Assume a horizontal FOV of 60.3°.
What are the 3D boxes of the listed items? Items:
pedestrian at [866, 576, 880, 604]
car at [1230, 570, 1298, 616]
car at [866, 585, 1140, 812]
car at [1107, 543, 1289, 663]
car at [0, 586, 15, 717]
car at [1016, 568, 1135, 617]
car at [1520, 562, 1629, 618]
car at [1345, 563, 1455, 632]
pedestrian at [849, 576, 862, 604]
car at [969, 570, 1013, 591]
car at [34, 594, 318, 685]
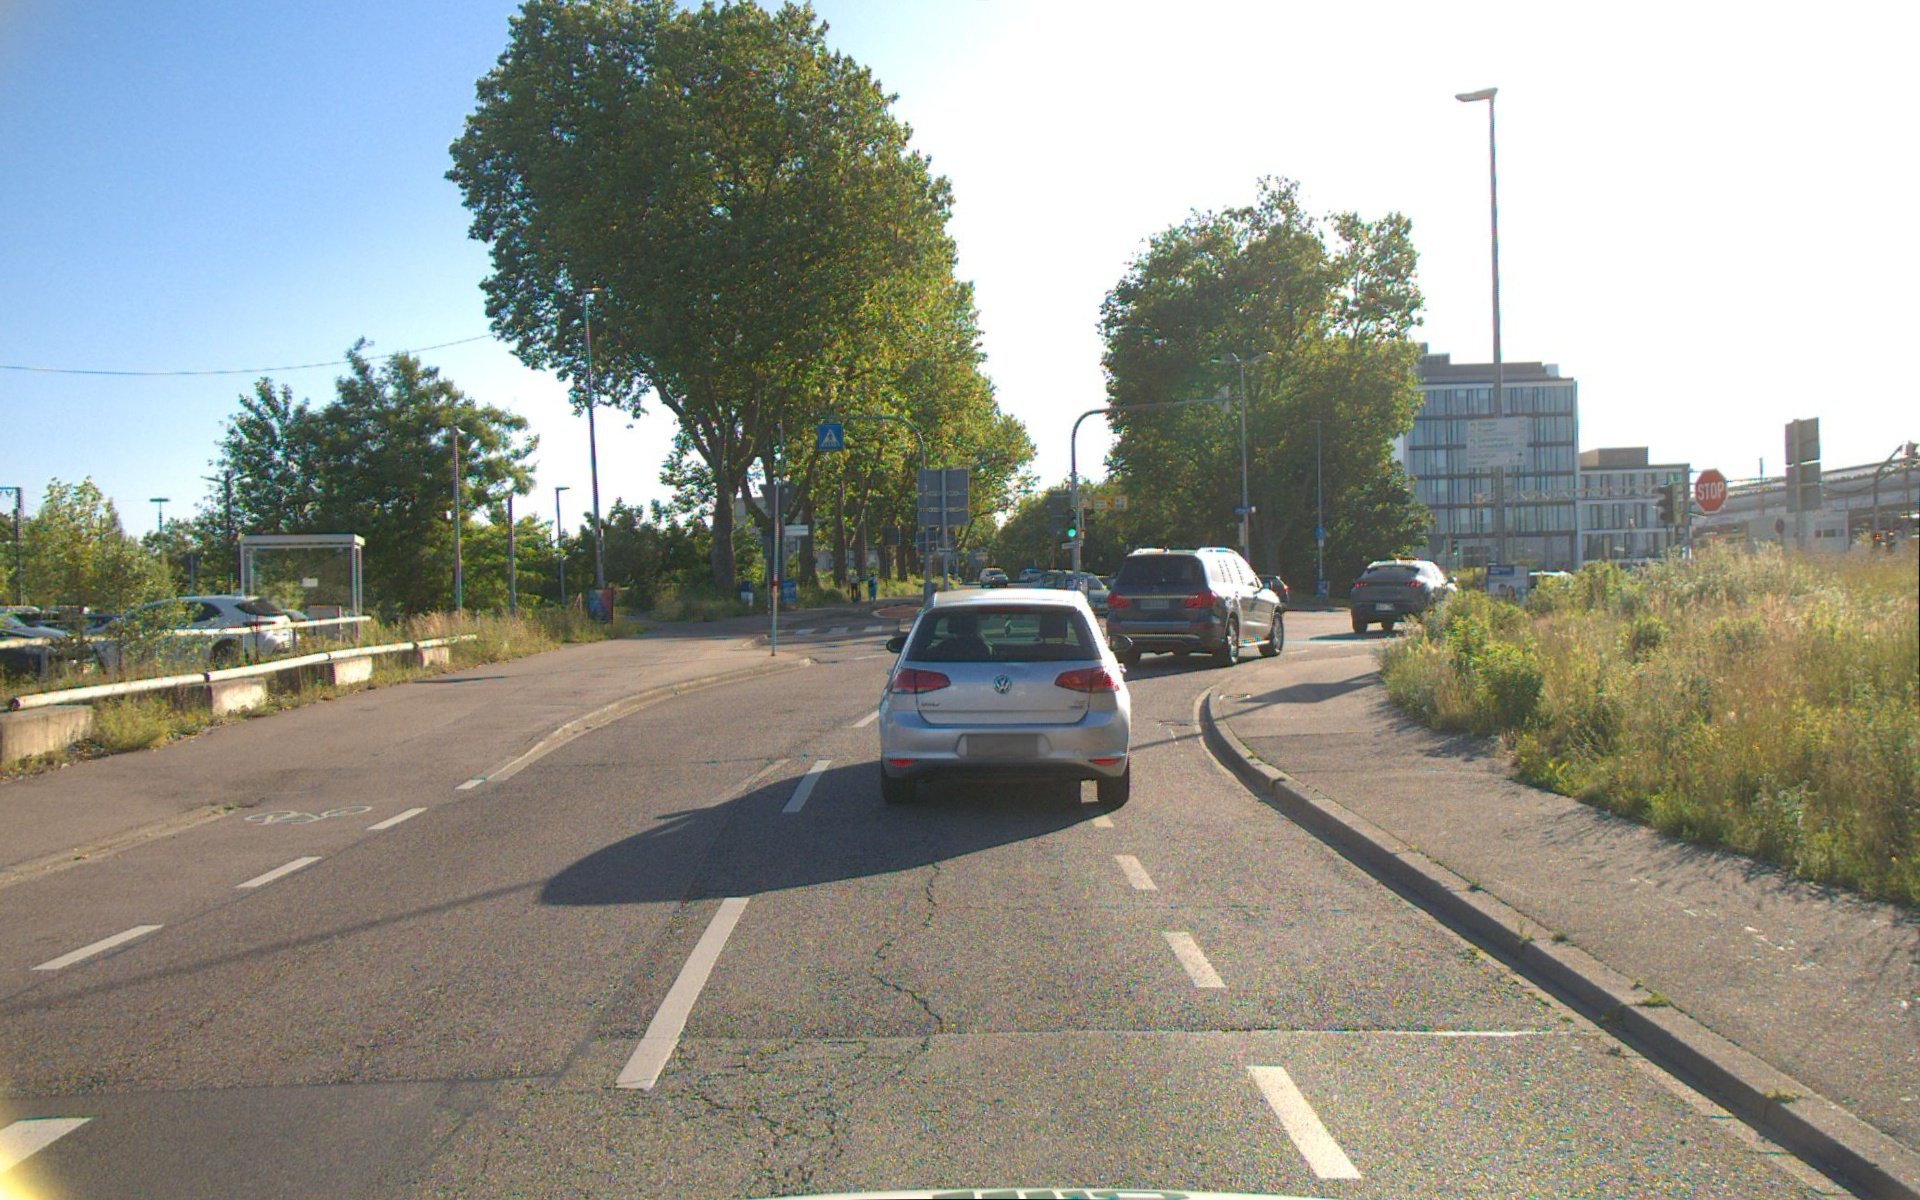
[{"bbox_3d":[-4.513,-0.516,85.944,0.664,1.439,0.684,-1,0,-1],"label":"pedestrian"},{"bbox_3d":[12.156,-0.242,66.309,1.953,1.758,3.999,-1,-1,-1],"label":"car"},{"bbox_3d":[0.460,0.618,12.609,1.752,1.445,4.003,-1,0,5],"label":"car"},{"bbox_3d":[4.031,0.018,27.362,1.783,1.799,4.627,0,0,24],"label":"car"},{"bbox_3d":[-13.861,0.653,19.381,4.450,1.585,1.877,-1,0,-2],"label":"car"},{"bbox_3d":[3.958,-0.250,57.022,1.980,1.624,3.945,-1,1,-38],"label":"car"},{"bbox_3d":[18.601,-0.321,49.969,1.869,1.624,3.979,-1,0,40],"label":"car"},{"bbox_3d":[10.542,-0.076,39.416,1.876,1.556,4.405,0,1,24],"label":"car"},{"bbox_3d":[-5.434,-0.528,86.075,0.664,1.439,0.684,-1,0,-1],"label":"pedestrian"},{"bbox_3d":[3.080,-1.984,164.602,3.925,2.049,1.990,0,1,40],"label":"car"},{"bbox_3d":[-14.443,0.702,30.661,4.336,1.585,1.877,-1,0,-2],"label":"car"}]
